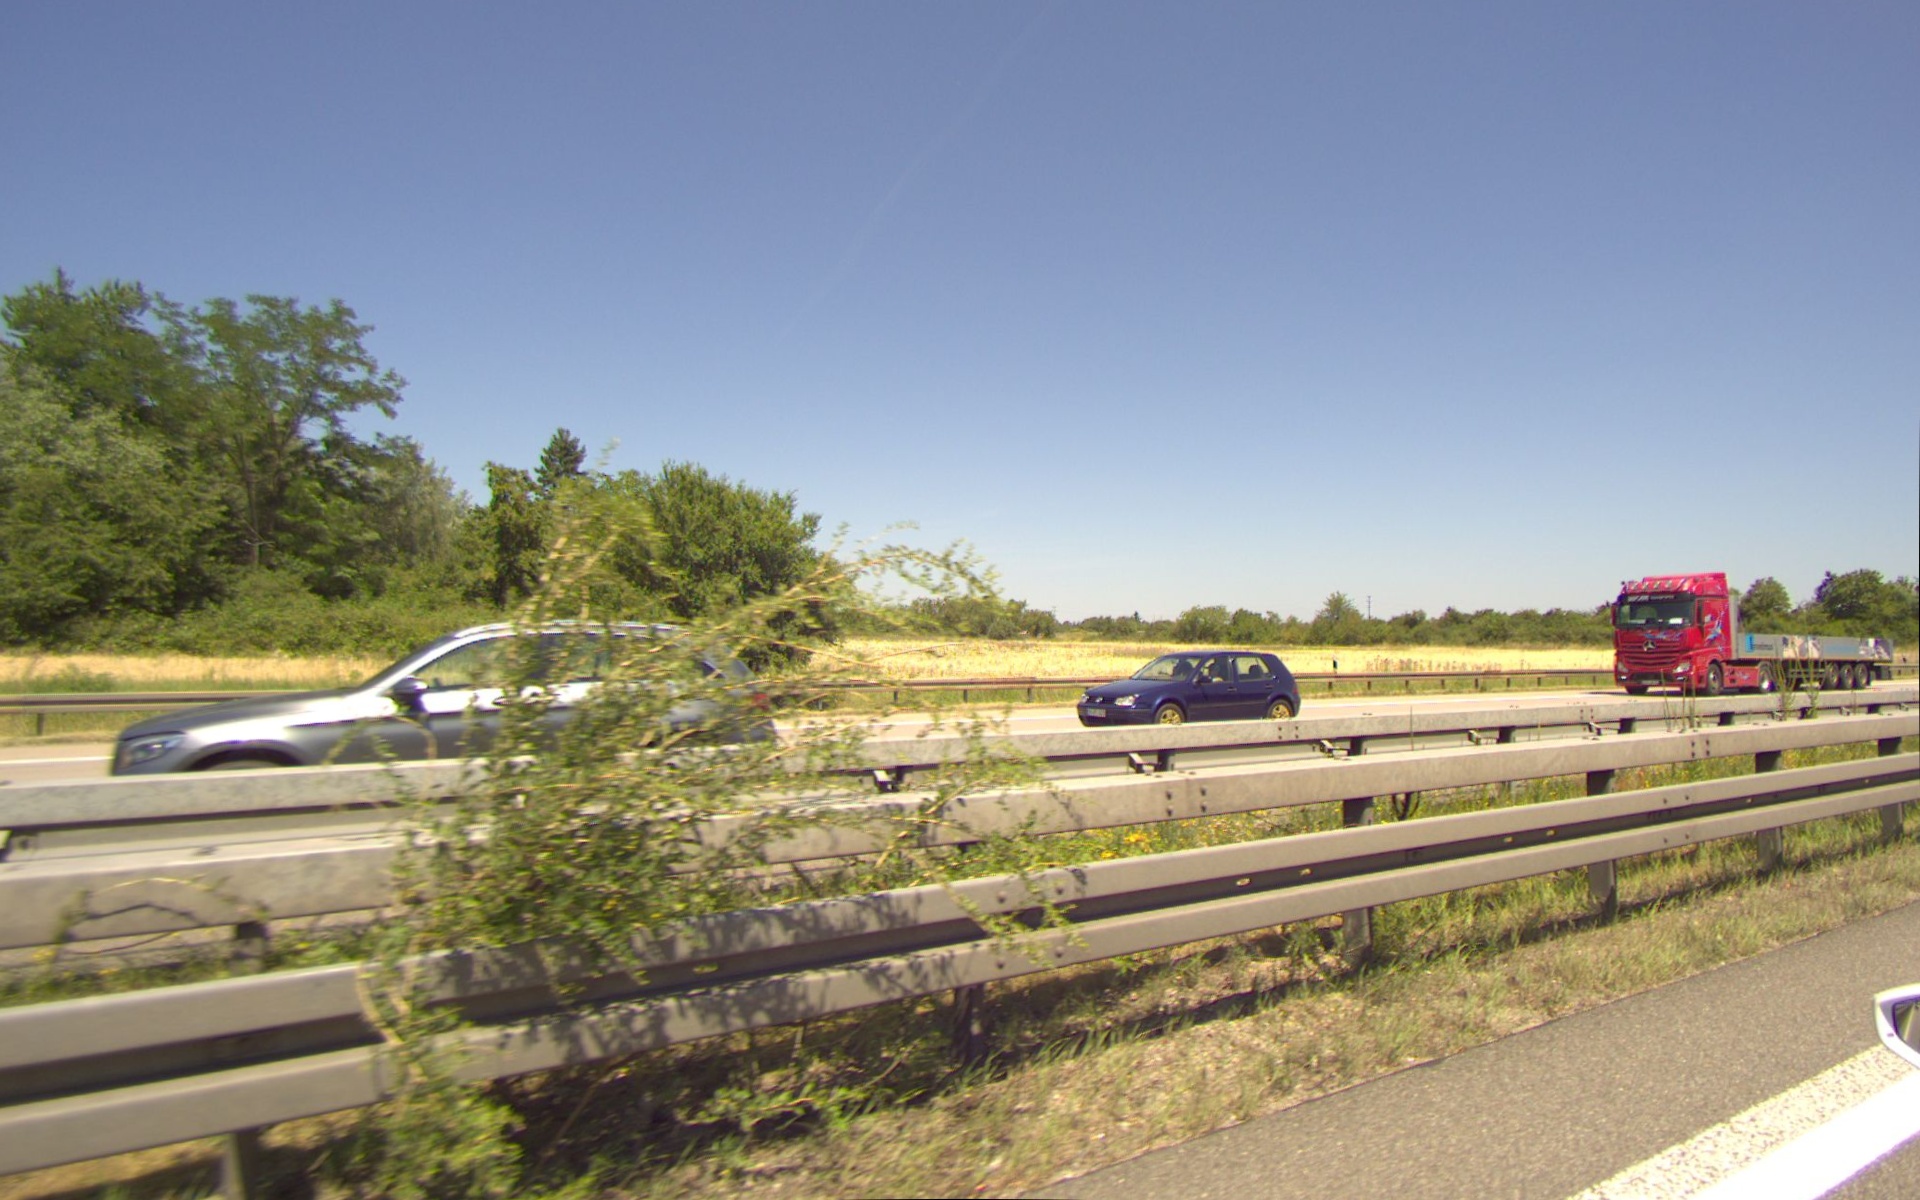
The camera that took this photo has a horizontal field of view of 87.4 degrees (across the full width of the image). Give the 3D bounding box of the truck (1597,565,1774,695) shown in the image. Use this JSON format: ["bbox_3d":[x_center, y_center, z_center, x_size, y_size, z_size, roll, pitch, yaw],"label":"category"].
[{"bbox_3d":[24.606,1.062,34.038,5.684,4.066,2.748,1,-3,-31],"label":"truck"}]

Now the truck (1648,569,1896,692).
[{"bbox_3d":[30.815,1.213,37.778,13.367,4.066,2.748,1,-3,-31],"label":"truck"}]

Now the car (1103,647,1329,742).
[{"bbox_3d":[4.440,1.555,17.355,3.634,1.470,1.725,1,-3,-30],"label":"car"}]

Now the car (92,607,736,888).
[{"bbox_3d":[-3.918,0.954,7.777,3.916,1.669,1.800,1,-3,-31],"label":"car"}]
